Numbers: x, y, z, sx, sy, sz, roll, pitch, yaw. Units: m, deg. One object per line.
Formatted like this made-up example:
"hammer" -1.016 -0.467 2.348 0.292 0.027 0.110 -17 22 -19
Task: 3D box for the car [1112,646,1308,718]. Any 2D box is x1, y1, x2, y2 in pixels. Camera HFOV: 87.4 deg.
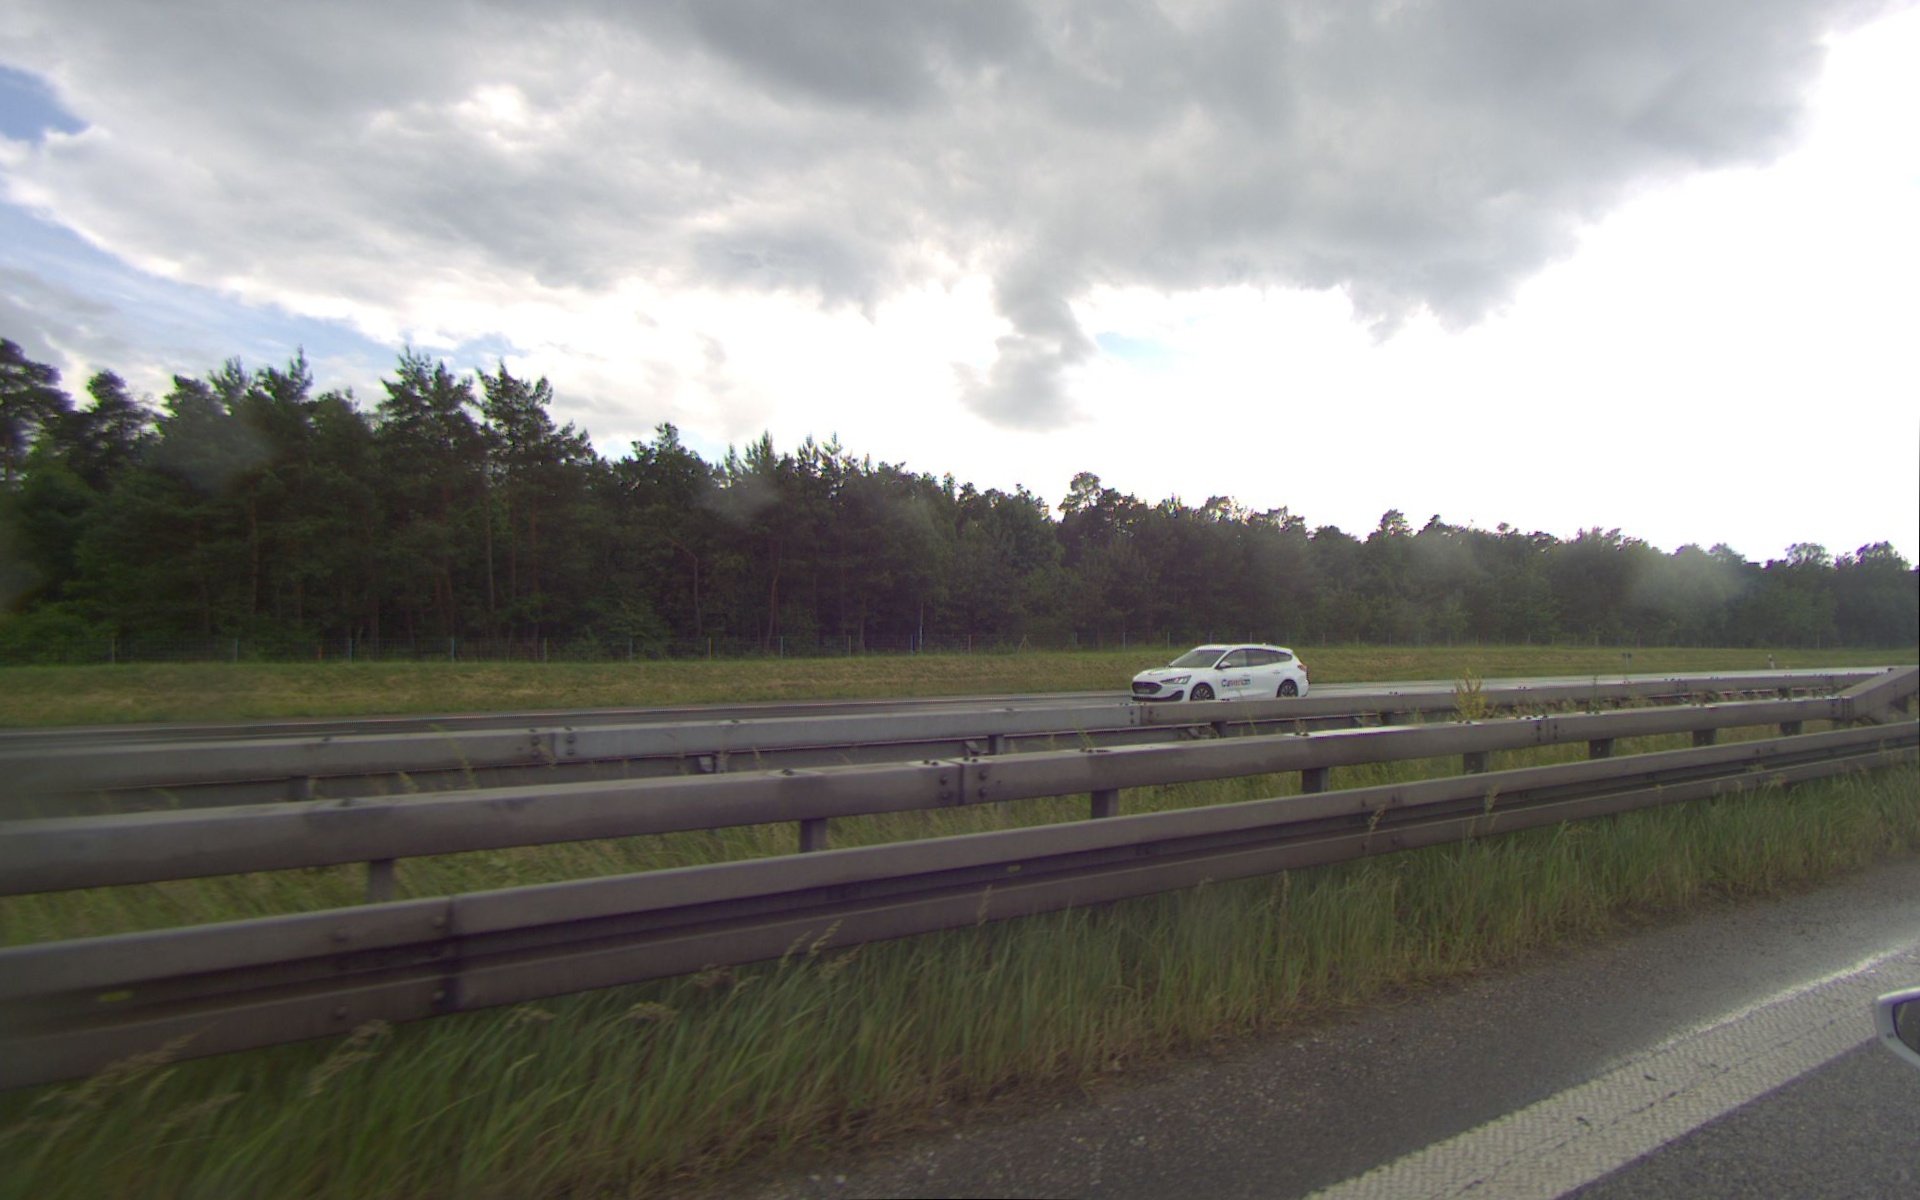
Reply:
"car" 5.650 1.775 22.604 4.272 1.464 1.840 1 -3 -31
